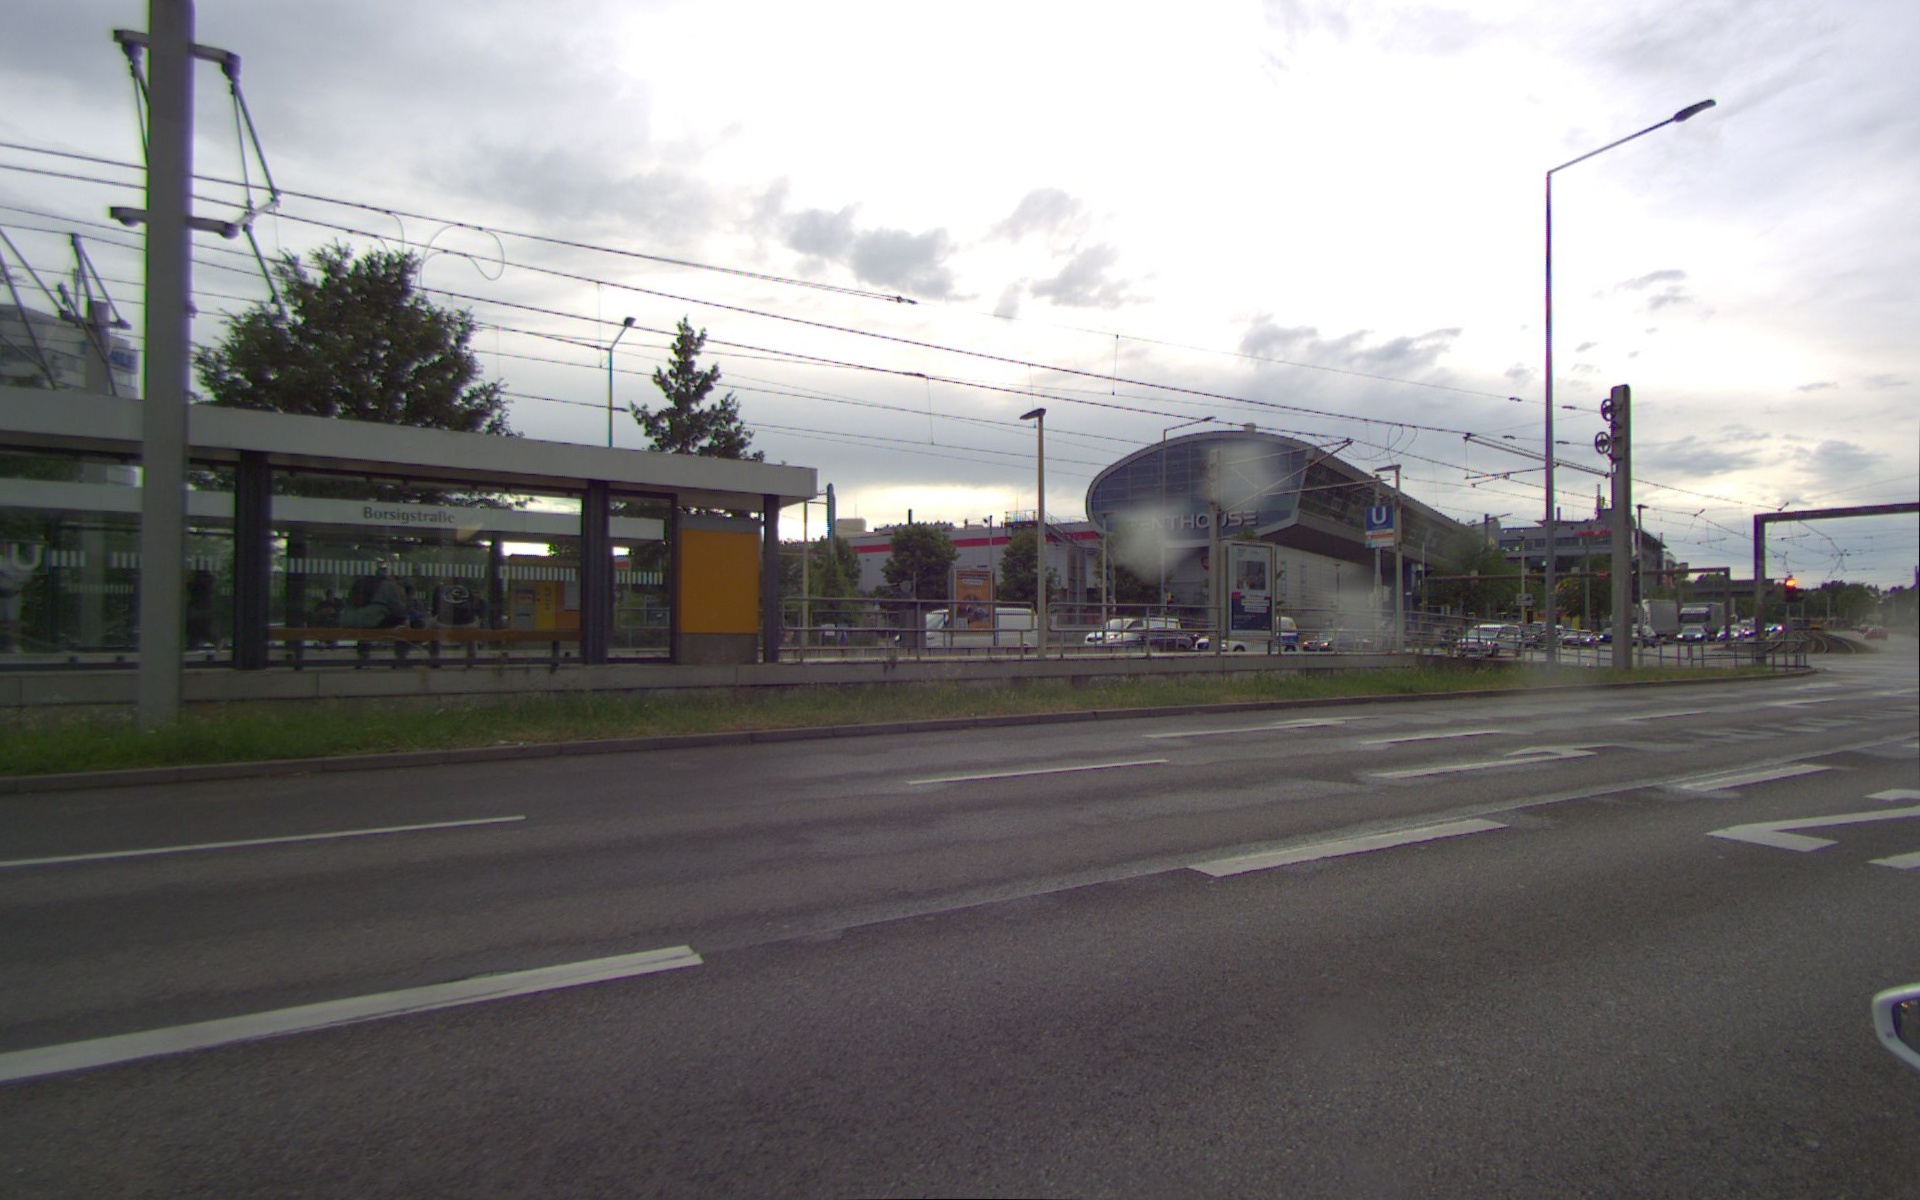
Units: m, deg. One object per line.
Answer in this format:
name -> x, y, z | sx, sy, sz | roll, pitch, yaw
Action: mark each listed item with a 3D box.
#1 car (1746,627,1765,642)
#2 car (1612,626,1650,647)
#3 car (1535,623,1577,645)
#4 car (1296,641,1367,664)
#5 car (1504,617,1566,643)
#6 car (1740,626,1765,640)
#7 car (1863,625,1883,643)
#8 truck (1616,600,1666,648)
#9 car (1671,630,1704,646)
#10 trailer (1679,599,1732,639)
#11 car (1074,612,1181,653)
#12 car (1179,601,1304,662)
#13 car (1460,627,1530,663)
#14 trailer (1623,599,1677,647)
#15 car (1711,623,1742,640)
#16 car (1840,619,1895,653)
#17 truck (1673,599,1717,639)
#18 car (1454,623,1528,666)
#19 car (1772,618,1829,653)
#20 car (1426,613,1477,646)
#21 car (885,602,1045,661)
car -> 110.130, 4.722, 139.043 | 1.970, 1.862, 4.884 | 1, 1, 40
car -> 51.335, 2.801, 76.834 | 1.720, 1.481, 4.128 | 2, 0, 43
car -> 47.855, 2.710, 80.573 | 4.048, 1.648, 1.559 | 2, 0, -39
car -> 19.993, 2.836, 53.950 | 3.892, 1.146, 1.518 | 2, 0, -32
car -> 36.253, 1.897, 63.278 | 4.890, 1.517, 1.664 | 2, 0, -39
car -> 99.205, 4.108, 125.737 | 1.883, 1.576, 4.537 | 2, 0, 45
car -> 109.717, 4.036, 120.712 | 1.753, 2.040, 4.324 | 2, 0, 42
truck -> 59.864, 2.079, 88.267 | 2.800, 4.049, 5.955 | -1, -2, 42
car -> 64.730, 3.385, 89.355 | 1.887, 1.281, 4.389 | 2, 0, 43
trailer -> 83.230, 2.238, 112.038 | 12.659, 4.178, 2.624 | 2, -3, -44
car -> 7.543, 1.470, 45.060 | 4.620, 1.722, 2.091 | 2, 0, -35
car -> 11.307, 1.278, 40.239 | 5.091, 2.244, 1.981 | 2, 0, -34
car -> 27.119, 2.292, 50.867 | 4.231, 1.688, 1.516 | 2, 0, -38
trailer -> 63.847, 2.138, 92.791 | 2.763, 4.161, 11.383 | -2, -2, 41
car -> 78.565, 3.225, 102.942 | 4.068, 1.674, 1.868 | 2, 0, -44
car -> 57.719, 2.254, 63.884 | 4.306, 2.040, 1.760 | 1, 1, -36
truck -> 79.111, 2.081, 108.072 | 6.142, 4.184, 2.641 | 2, -3, -43
car -> 27.084, 2.239, 51.185 | 4.310, 2.040, 1.758 | 2, 0, -39
car -> 52.499, 2.181, 62.723 | 4.306, 2.040, 1.760 | 1, 1, -36
car -> 32.157, 1.943, 65.683 | 1.753, 2.040, 4.323 | 2, 0, 43
car -> 0.213, 1.053, 32.811 | 4.981, 1.754, 1.980 | 2, 0, -35
